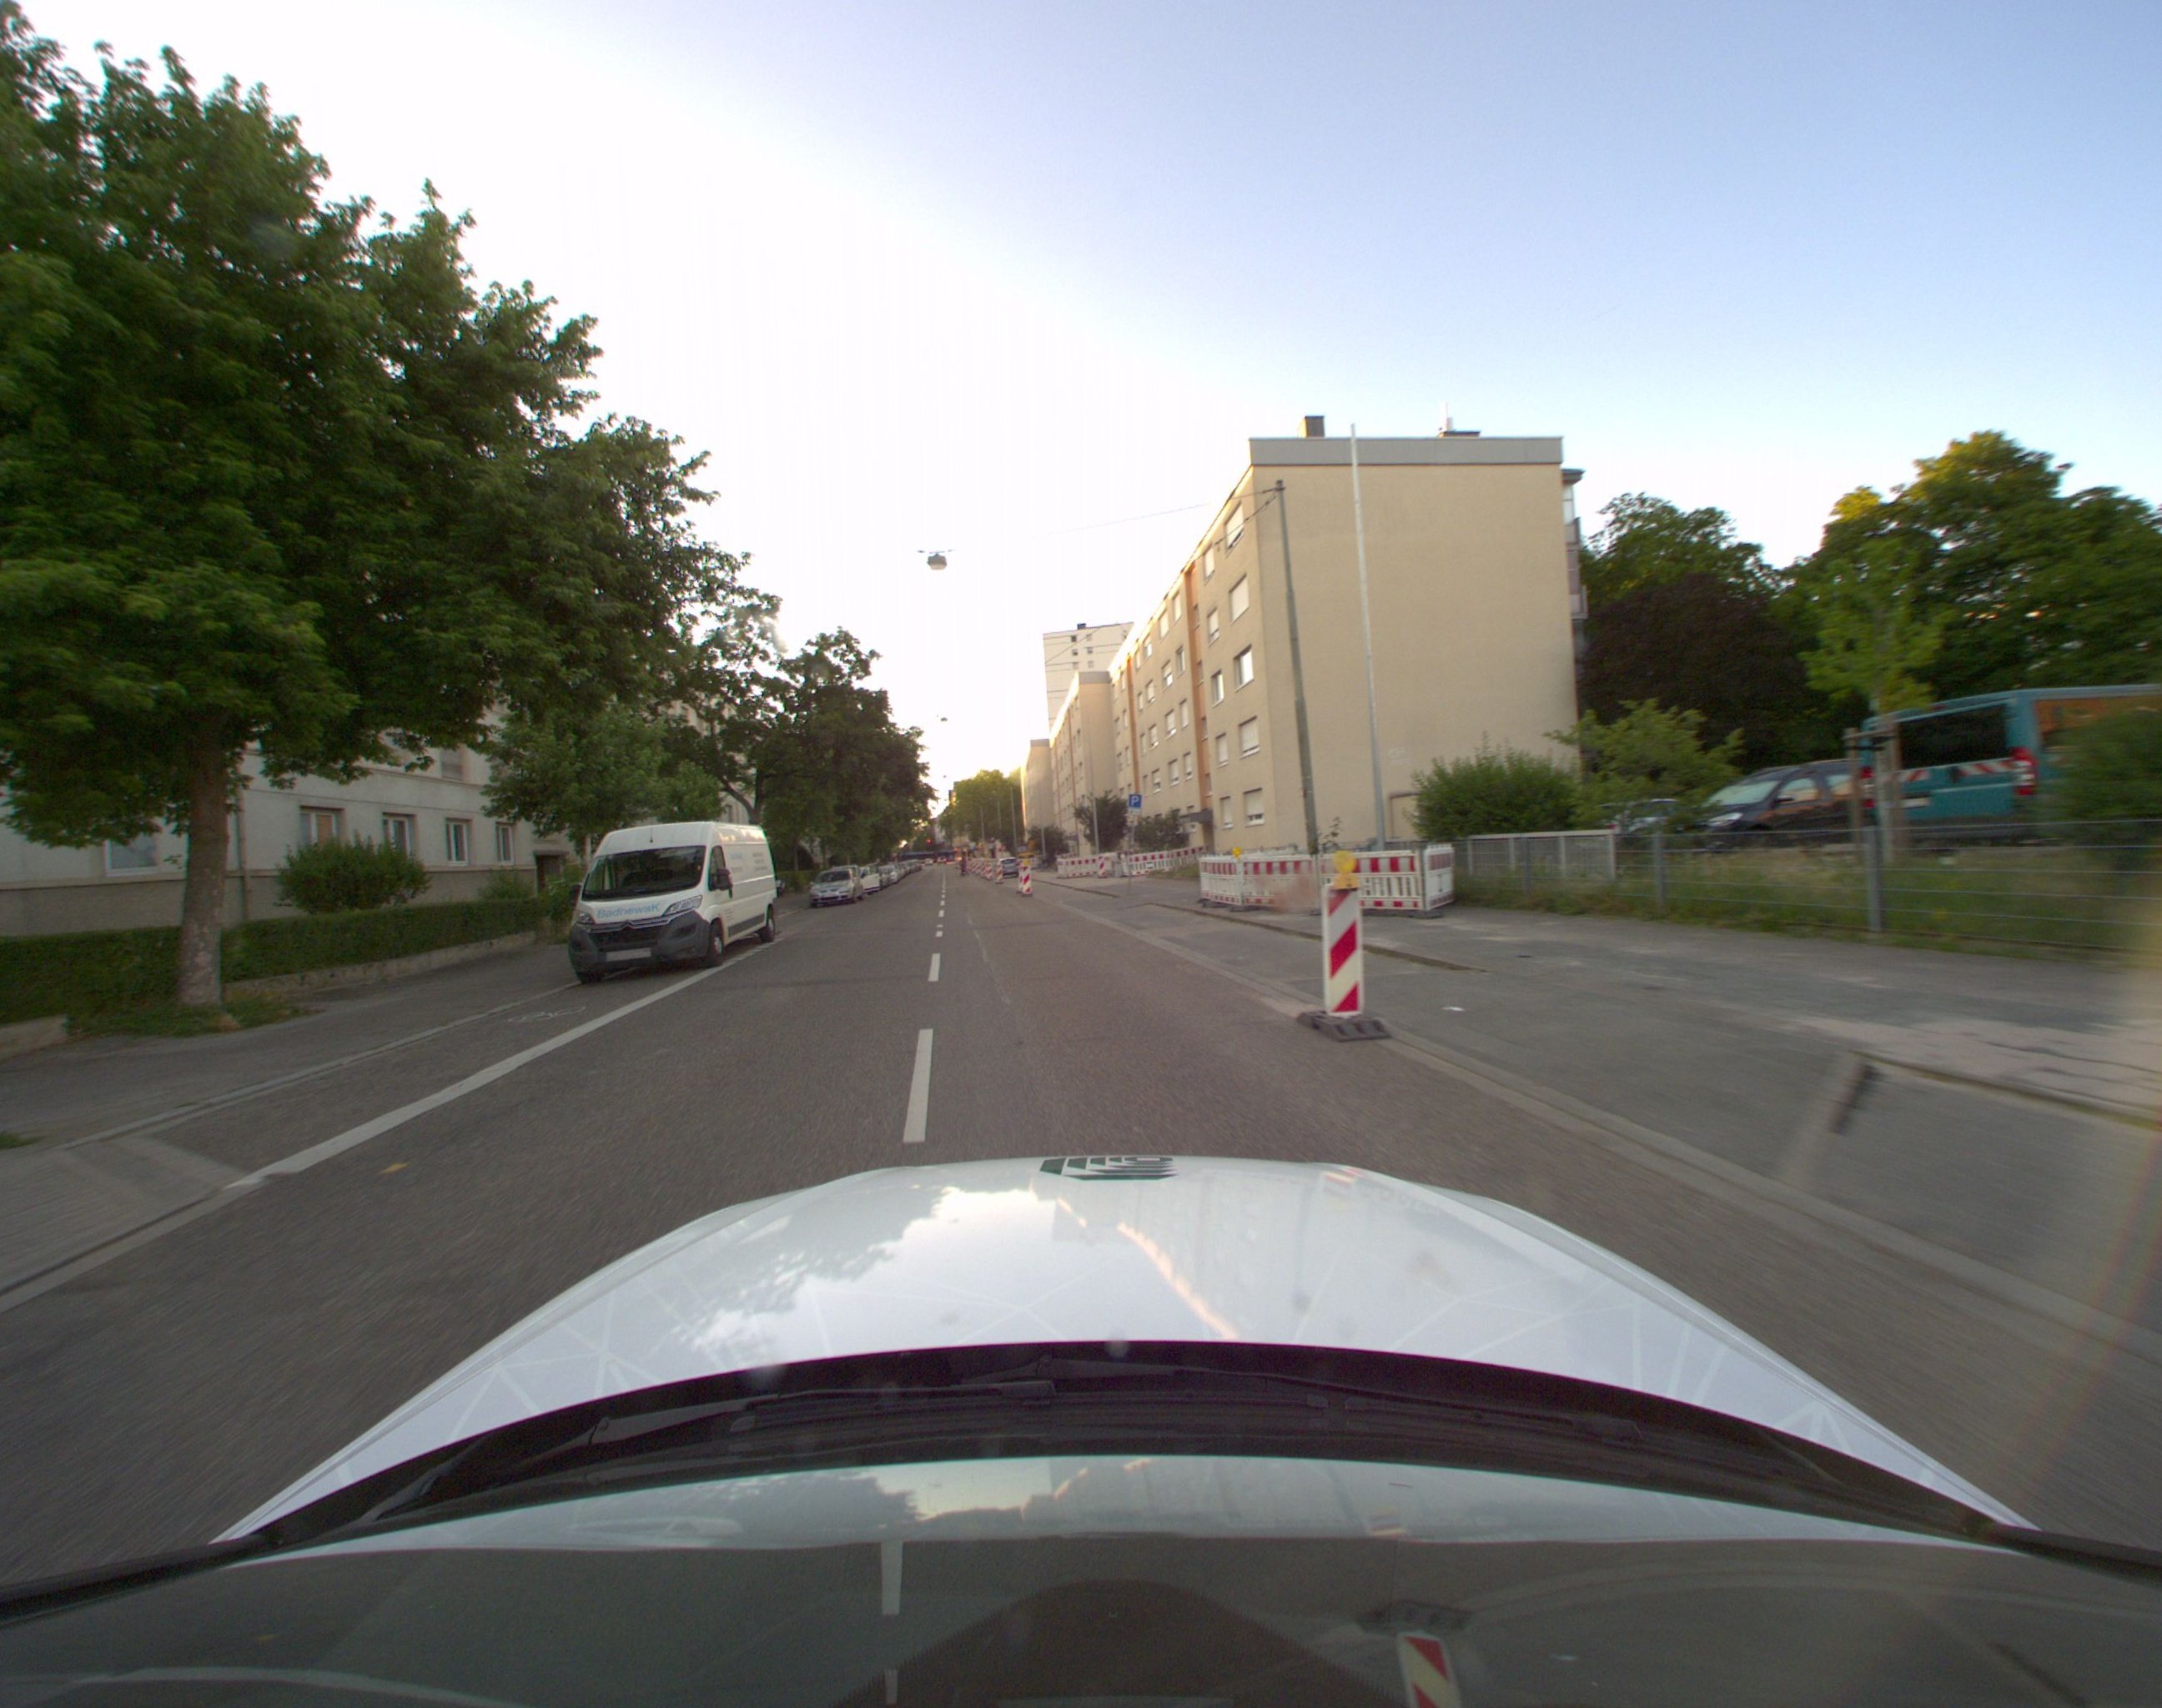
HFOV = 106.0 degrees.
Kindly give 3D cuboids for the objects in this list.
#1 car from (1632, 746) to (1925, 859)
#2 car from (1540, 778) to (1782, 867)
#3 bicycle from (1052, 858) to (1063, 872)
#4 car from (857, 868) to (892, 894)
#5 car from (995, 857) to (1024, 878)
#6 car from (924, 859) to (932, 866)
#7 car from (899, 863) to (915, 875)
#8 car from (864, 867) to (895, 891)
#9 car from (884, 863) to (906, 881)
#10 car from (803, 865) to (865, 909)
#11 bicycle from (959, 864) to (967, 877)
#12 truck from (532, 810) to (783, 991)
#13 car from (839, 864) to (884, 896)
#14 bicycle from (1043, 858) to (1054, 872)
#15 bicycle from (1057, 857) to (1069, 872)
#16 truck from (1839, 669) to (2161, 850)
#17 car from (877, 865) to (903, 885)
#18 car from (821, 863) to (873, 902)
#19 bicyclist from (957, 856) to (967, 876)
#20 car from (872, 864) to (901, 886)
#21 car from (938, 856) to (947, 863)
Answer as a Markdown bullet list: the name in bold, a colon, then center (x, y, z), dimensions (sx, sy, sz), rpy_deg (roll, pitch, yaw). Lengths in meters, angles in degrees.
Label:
- **car**: center (13.623, -0.966, 16.071), dimensions (4.208, 1.826, 1.996), rpy_deg (-4, 0, -6)
- **car**: center (13.195, -0.698, 18.674), dimensions (4.208, 1.647, 1.996), rpy_deg (-4, 0, -6)
- **bicycle**: center (-1.929, 0.893, 66.968), dimensions (0.616, 1.107, 2.229), rpy_deg (-4, 0, -7)
- **car**: center (-13.522, 1.741, 53.538), dimensions (1.778, 1.423, 3.734), rpy_deg (-7, 1, -9)
- **car**: center (-5.477, 0.986, 61.821), dimensions (1.779, 1.390, 3.987), rpy_deg (-4, 0, -9)
- **car**: center (-34.855, 1.998, 185.591), dimensions (1.757, 1.443, 3.440), rpy_deg (-7, 0, -11)
- **car**: center (-22.524, 1.920, 105.409), dimensions (1.653, 1.443, 3.443), rpy_deg (-7, 0, -9)
- **car**: center (-14.462, 1.788, 58.611), dimensions (1.756, 1.443, 3.443), rpy_deg (-7, 0, -9)
- **car**: center (-18.055, 1.747, 79.235), dimensions (1.756, 1.443, 3.443), rpy_deg (-7, 0, -9)
- **car**: center (-10.129, 1.324, 33.688), dimensions (1.756, 1.483, 3.915), rpy_deg (-7, 0, -9)
- **bicycle**: center (-10.864, 1.494, 74.943), dimensions (0.641, 1.115, 3.045), rpy_deg (-4, 0, -9)
- **truck**: center (-7.206, 0.681, 14.788), dimensions (2.102, 2.422, 6.025), rpy_deg (-5, 0, -10)
- **car**: center (-11.788, 1.377, 43.950), dimensions (1.756, 1.443, 3.915), rpy_deg (-7, 0, -9)
- **bicycle**: center (-2.693, 0.890, 67.002), dimensions (0.616, 1.107, 2.229), rpy_deg (-4, 0, -7)
- **bicycle**: center (-1.364, 0.799, 61.440), dimensions (0.616, 1.107, 2.229), rpy_deg (-4, 0, -7)
- **truck**: center (13.583, -1.260, 11.137), dimensions (4.487, 2.090, 2.110), rpy_deg (-4, 0, -3)
- **car**: center (-16.103, 1.773, 68.807), dimensions (1.756, 1.443, 3.443), rpy_deg (-7, 0, -9)
- **car**: center (-11.271, 1.330, 39.457), dimensions (1.756, 1.603, 3.915), rpy_deg (-7, 0, -9)
- **bicyclist**: center (-11.025, 1.151, 75.614), dimensions (0.791, 1.800, 1.014), rpy_deg (-4, 0, -9)
- **car**: center (-15.141, 1.603, 63.491), dimensions (1.756, 1.443, 3.443), rpy_deg (-7, 0, -9)
- **car**: center (-32.996, 1.373, 193.919), dimensions (1.697, 1.443, 3.438), rpy_deg (-7, 0, -13)
